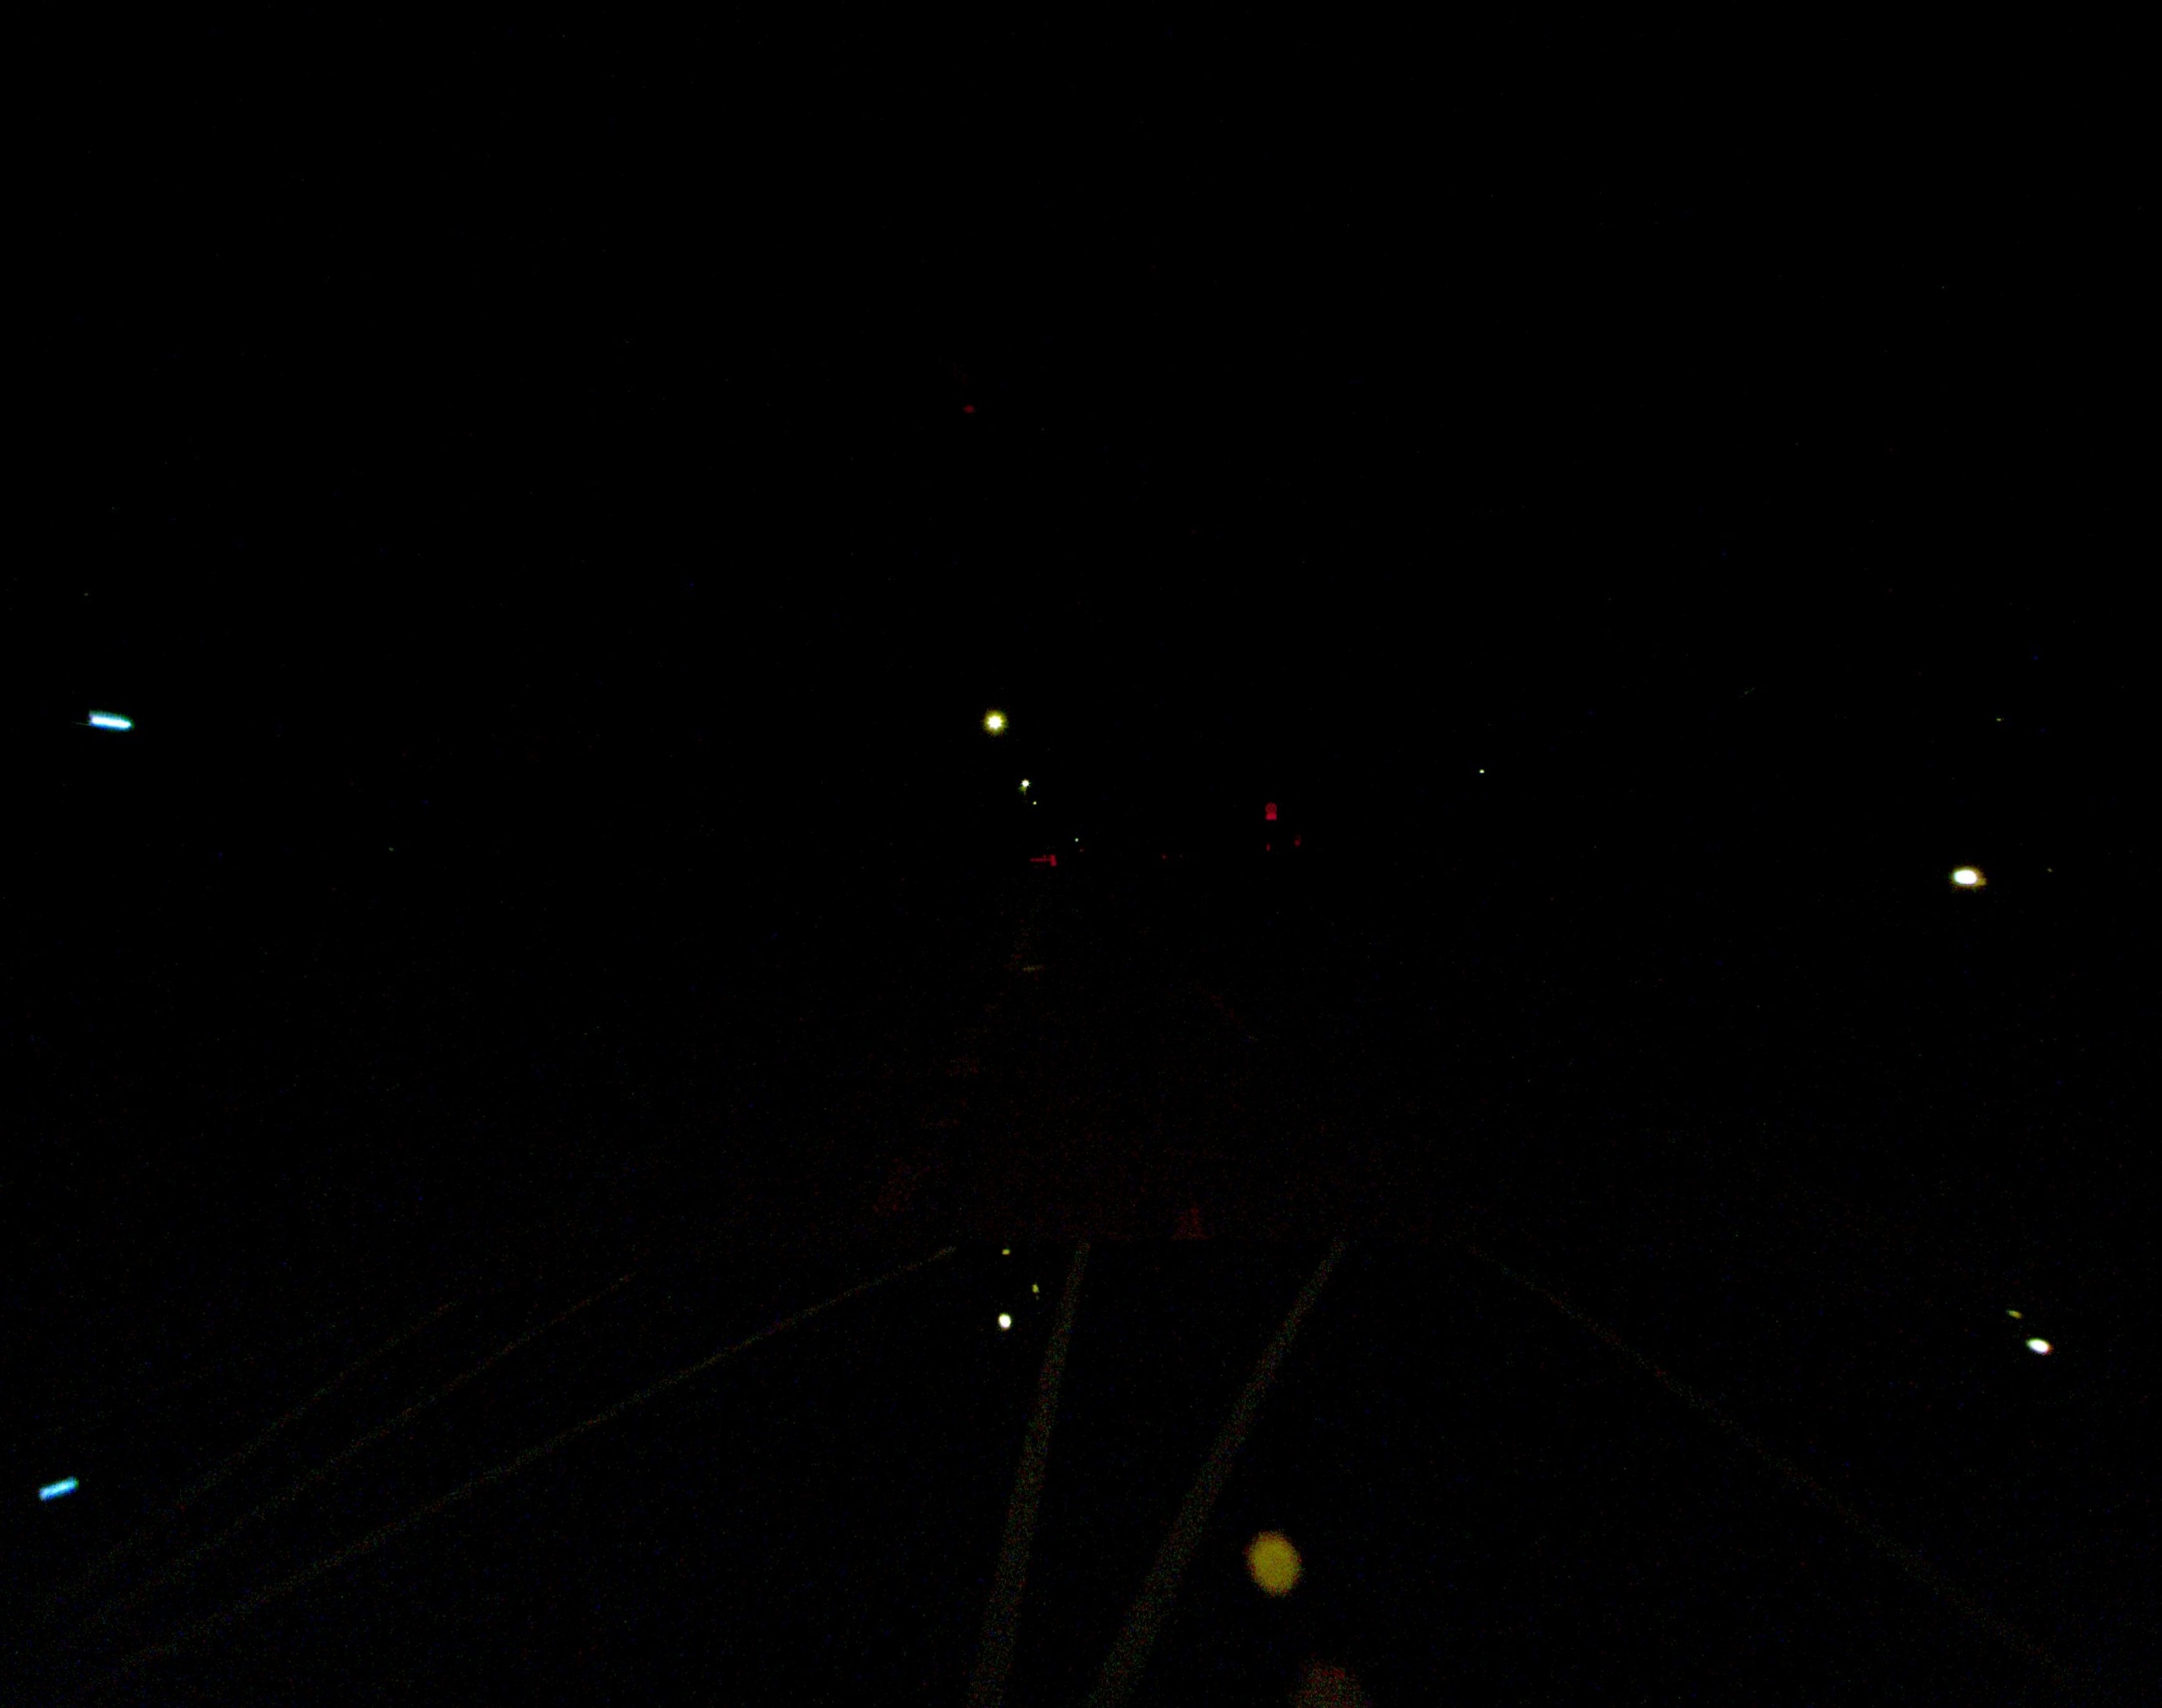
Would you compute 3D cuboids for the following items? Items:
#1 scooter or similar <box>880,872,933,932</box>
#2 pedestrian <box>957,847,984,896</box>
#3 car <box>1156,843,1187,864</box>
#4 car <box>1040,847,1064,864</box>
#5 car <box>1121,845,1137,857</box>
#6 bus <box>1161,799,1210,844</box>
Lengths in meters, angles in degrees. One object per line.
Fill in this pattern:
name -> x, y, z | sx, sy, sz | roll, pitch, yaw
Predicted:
scooter or similar -> -3.679, 1.003, 16.091 | 0.468, 1.195, 1.137 | -2, 0, 24
pedestrian -> -4.325, 0.656, 29.695 | 0.819, 1.854, 1.034 | -2, 1, 1
car -> 7.184, -0.058, 60.817 | 1.806, 1.583, 3.999 | -2, 1, -2
car -> -2.926, 0.131, 78.182 | 1.998, 1.638, 4.000 | 1, 2, 4
car -> 6.341, -0.378, 100.542 | 1.863, 1.484, 4.080 | -2, 1, 1
bus -> 17.522, -5.300, 129.220 | 6.135, 6.898, 14.781 | -2, 1, 1
